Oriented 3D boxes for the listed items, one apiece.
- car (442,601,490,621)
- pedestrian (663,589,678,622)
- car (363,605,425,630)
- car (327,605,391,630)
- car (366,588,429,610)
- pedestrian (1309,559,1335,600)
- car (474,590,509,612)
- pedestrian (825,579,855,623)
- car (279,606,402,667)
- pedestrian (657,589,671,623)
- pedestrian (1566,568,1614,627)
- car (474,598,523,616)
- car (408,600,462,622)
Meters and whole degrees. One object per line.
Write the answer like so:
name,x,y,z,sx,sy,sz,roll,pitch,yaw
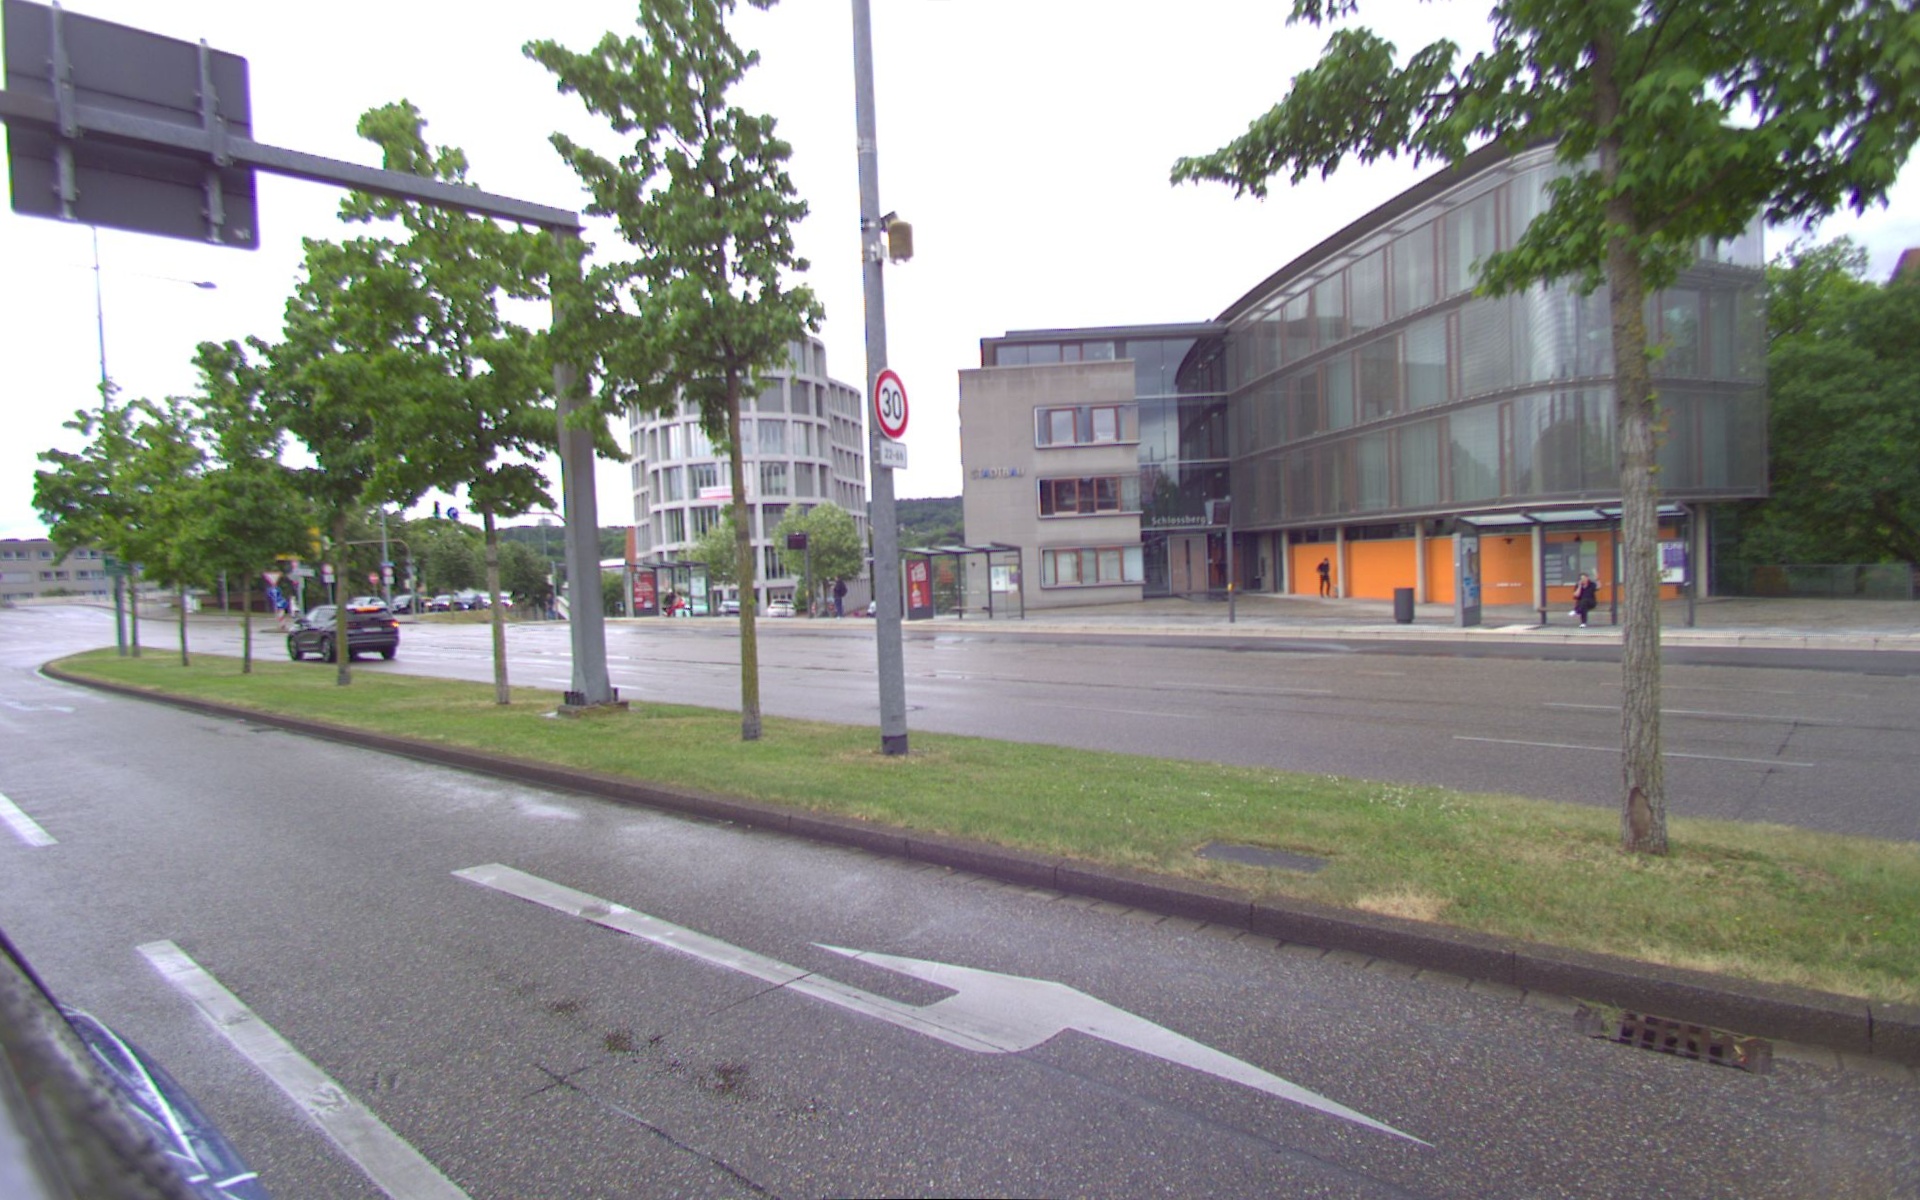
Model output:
car,-45.365,1.001,92.983,2.164,1.725,4.920,-1,0,-3
pedestrian,-14.550,0.297,50.896,0.535,1.647,0.514,-1,0,41
car,-43.316,1.334,77.601,2.164,1.725,4.919,-1,0,-3
car,-46.561,1.319,78.490,2.164,1.725,4.919,-1,0,-2
car,-56.229,-0.137,101.229,4.963,2.029,2.311,-1,0,0
pedestrian,15.093,-0.859,42.221,0.697,1.666,0.852,-1,0,-6
car,-46.285,0.114,100.035,1.969,2.029,4.005,-1,0,-6
pedestrian,-4.937,0.044,41.619,0.964,1.773,0.783,-1,0,12
car,-18.617,1.051,30.344,4.597,1.652,1.803,-1,1,41
pedestrian,-14.721,0.303,50.328,0.501,1.647,0.497,-1,0,41
pedestrian,14.616,-0.049,23.474,0.790,1.334,0.793,-1,0,42
car,-48.145,0.756,105.533,4.897,1.725,2.174,-1,0,30
car,-44.200,0.878,85.341,2.164,1.725,4.919,-1,0,-3
